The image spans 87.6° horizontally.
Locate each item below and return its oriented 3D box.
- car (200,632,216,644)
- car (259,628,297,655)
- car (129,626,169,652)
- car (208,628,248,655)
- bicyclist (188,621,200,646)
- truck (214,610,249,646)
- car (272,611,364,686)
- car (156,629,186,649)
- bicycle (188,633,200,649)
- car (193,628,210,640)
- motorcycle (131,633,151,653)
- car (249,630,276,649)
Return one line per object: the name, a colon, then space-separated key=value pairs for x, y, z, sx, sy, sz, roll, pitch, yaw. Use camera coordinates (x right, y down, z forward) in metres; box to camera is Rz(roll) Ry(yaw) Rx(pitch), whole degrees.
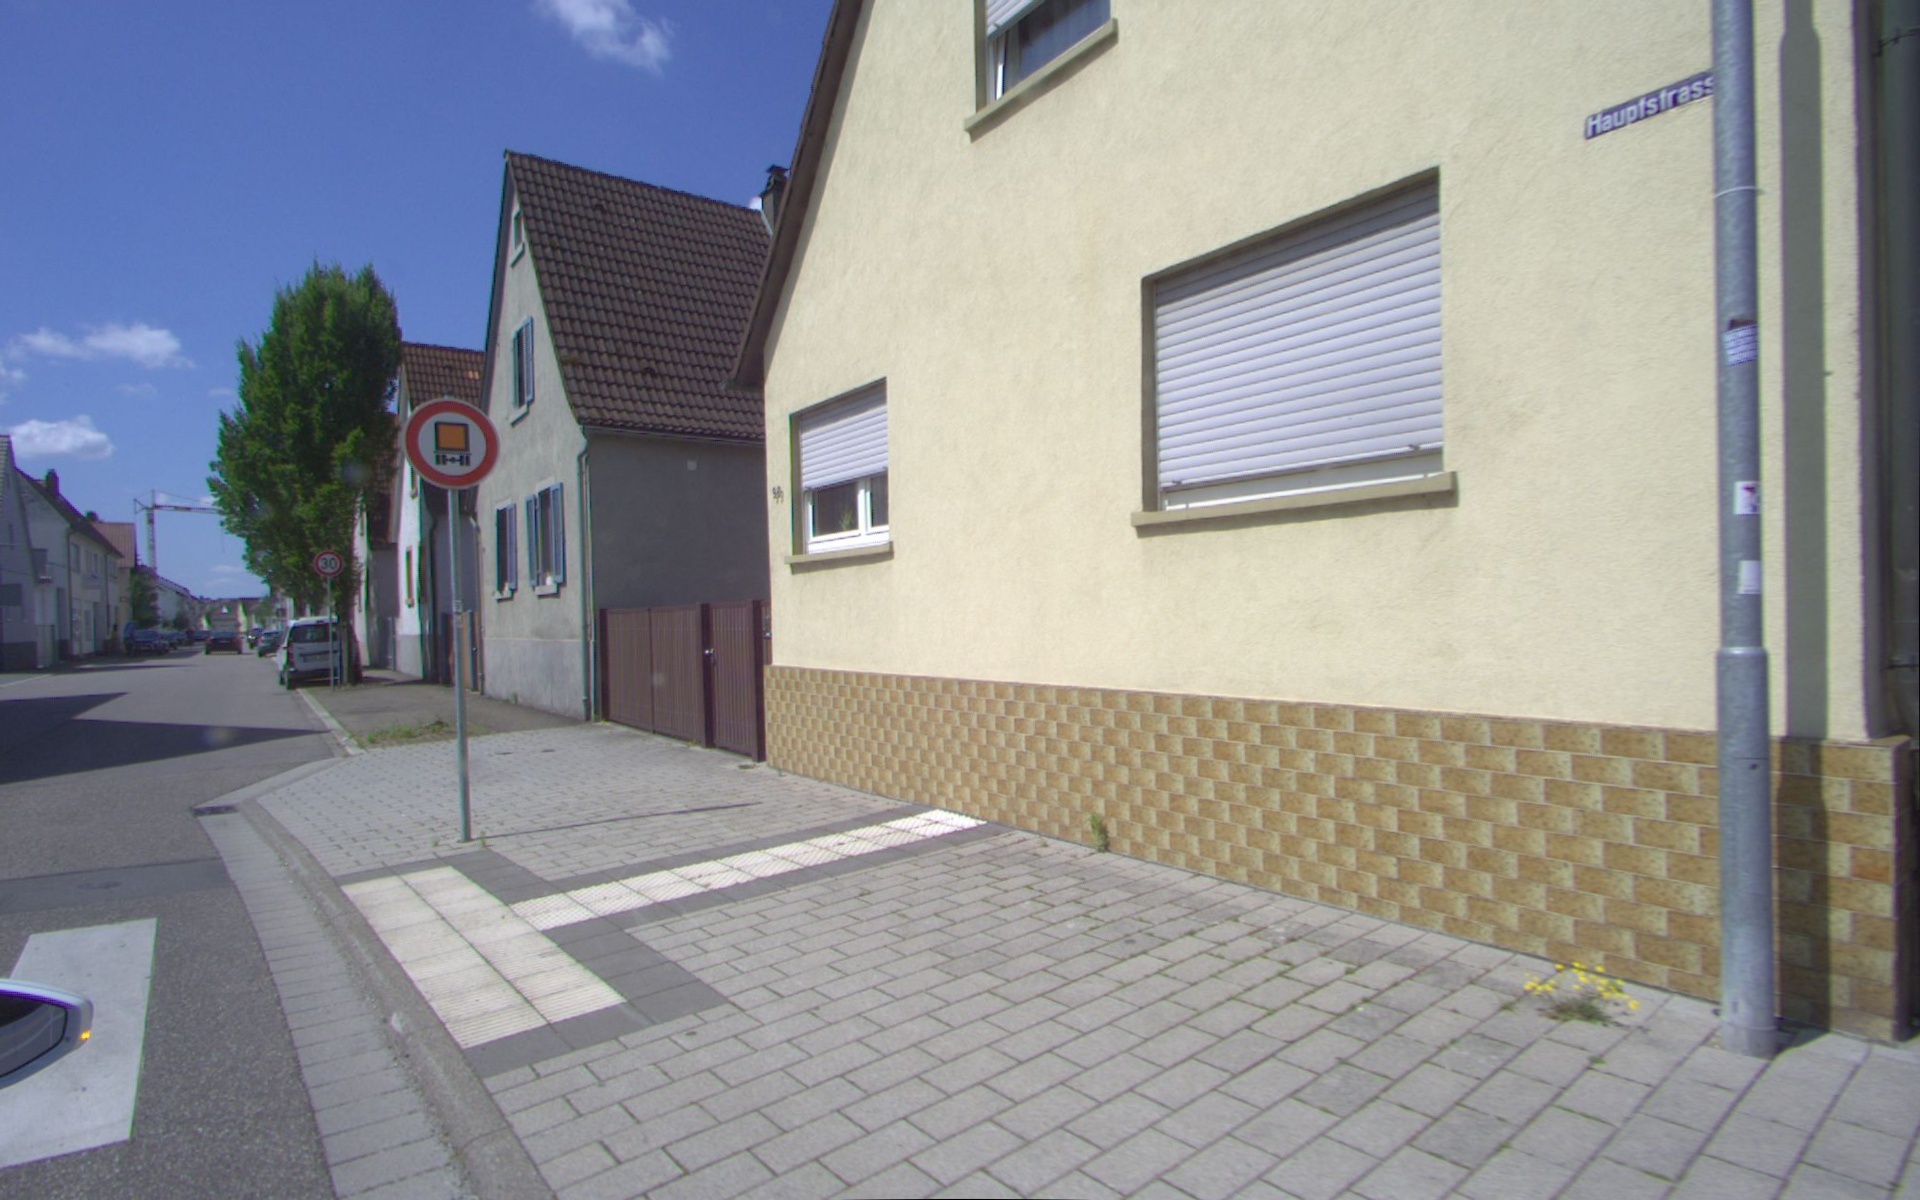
car: x=-110.362 y=5.546 z=146.999 sx=1.793 sy=1.609 sz=3.972 roll=0 pitch=-1 yaw=-36
car: x=-38.672 y=2.324 z=56.850 sx=1.702 sy=1.480 sz=4.130 roll=0 pitch=-1 yaw=-34
car: x=-52.237 y=2.516 z=64.575 sx=1.793 sy=1.609 sz=3.972 roll=0 pitch=-1 yaw=-36
car: x=-45.824 y=2.557 z=62.769 sx=1.884 sy=1.584 sz=4.447 roll=0 pitch=-1 yaw=-34
bicyclist: x=-65.337 y=2.843 z=85.438 sx=0.733 sy=2.085 sz=0.838 roll=1 pitch=-2 yaw=-37
truck: x=-89.129 y=3.462 z=122.657 sx=3.115 sy=4.304 sz=9.244 roll=1 pitch=-2 yaw=-34
car: x=-17.429 y=1.259 z=27.105 sx=1.704 sy=1.814 sz=4.113 roll=-3 pitch=0 yaw=-37
car: x=-66.633 y=3.303 z=84.584 sx=1.793 sy=1.609 sz=3.972 roll=0 pitch=-1 yaw=-36
bicycle: x=-65.294 y=3.488 z=85.358 sx=0.744 sy=1.324 sz=2.667 roll=1 pitch=-2 yaw=-36
car: x=-107.017 y=4.776 z=141.298 sx=1.792 sy=1.609 sz=3.972 roll=0 pitch=-1 yaw=-36
motorcycle: x=-50.119 y=2.609 z=61.313 sx=0.839 sy=1.184 sz=2.451 roll=1 pitch=-2 yaw=-37
car: x=-55.346 y=3.120 z=79.468 sx=1.703 sy=1.373 sz=4.128 roll=0 pitch=-1 yaw=-35
